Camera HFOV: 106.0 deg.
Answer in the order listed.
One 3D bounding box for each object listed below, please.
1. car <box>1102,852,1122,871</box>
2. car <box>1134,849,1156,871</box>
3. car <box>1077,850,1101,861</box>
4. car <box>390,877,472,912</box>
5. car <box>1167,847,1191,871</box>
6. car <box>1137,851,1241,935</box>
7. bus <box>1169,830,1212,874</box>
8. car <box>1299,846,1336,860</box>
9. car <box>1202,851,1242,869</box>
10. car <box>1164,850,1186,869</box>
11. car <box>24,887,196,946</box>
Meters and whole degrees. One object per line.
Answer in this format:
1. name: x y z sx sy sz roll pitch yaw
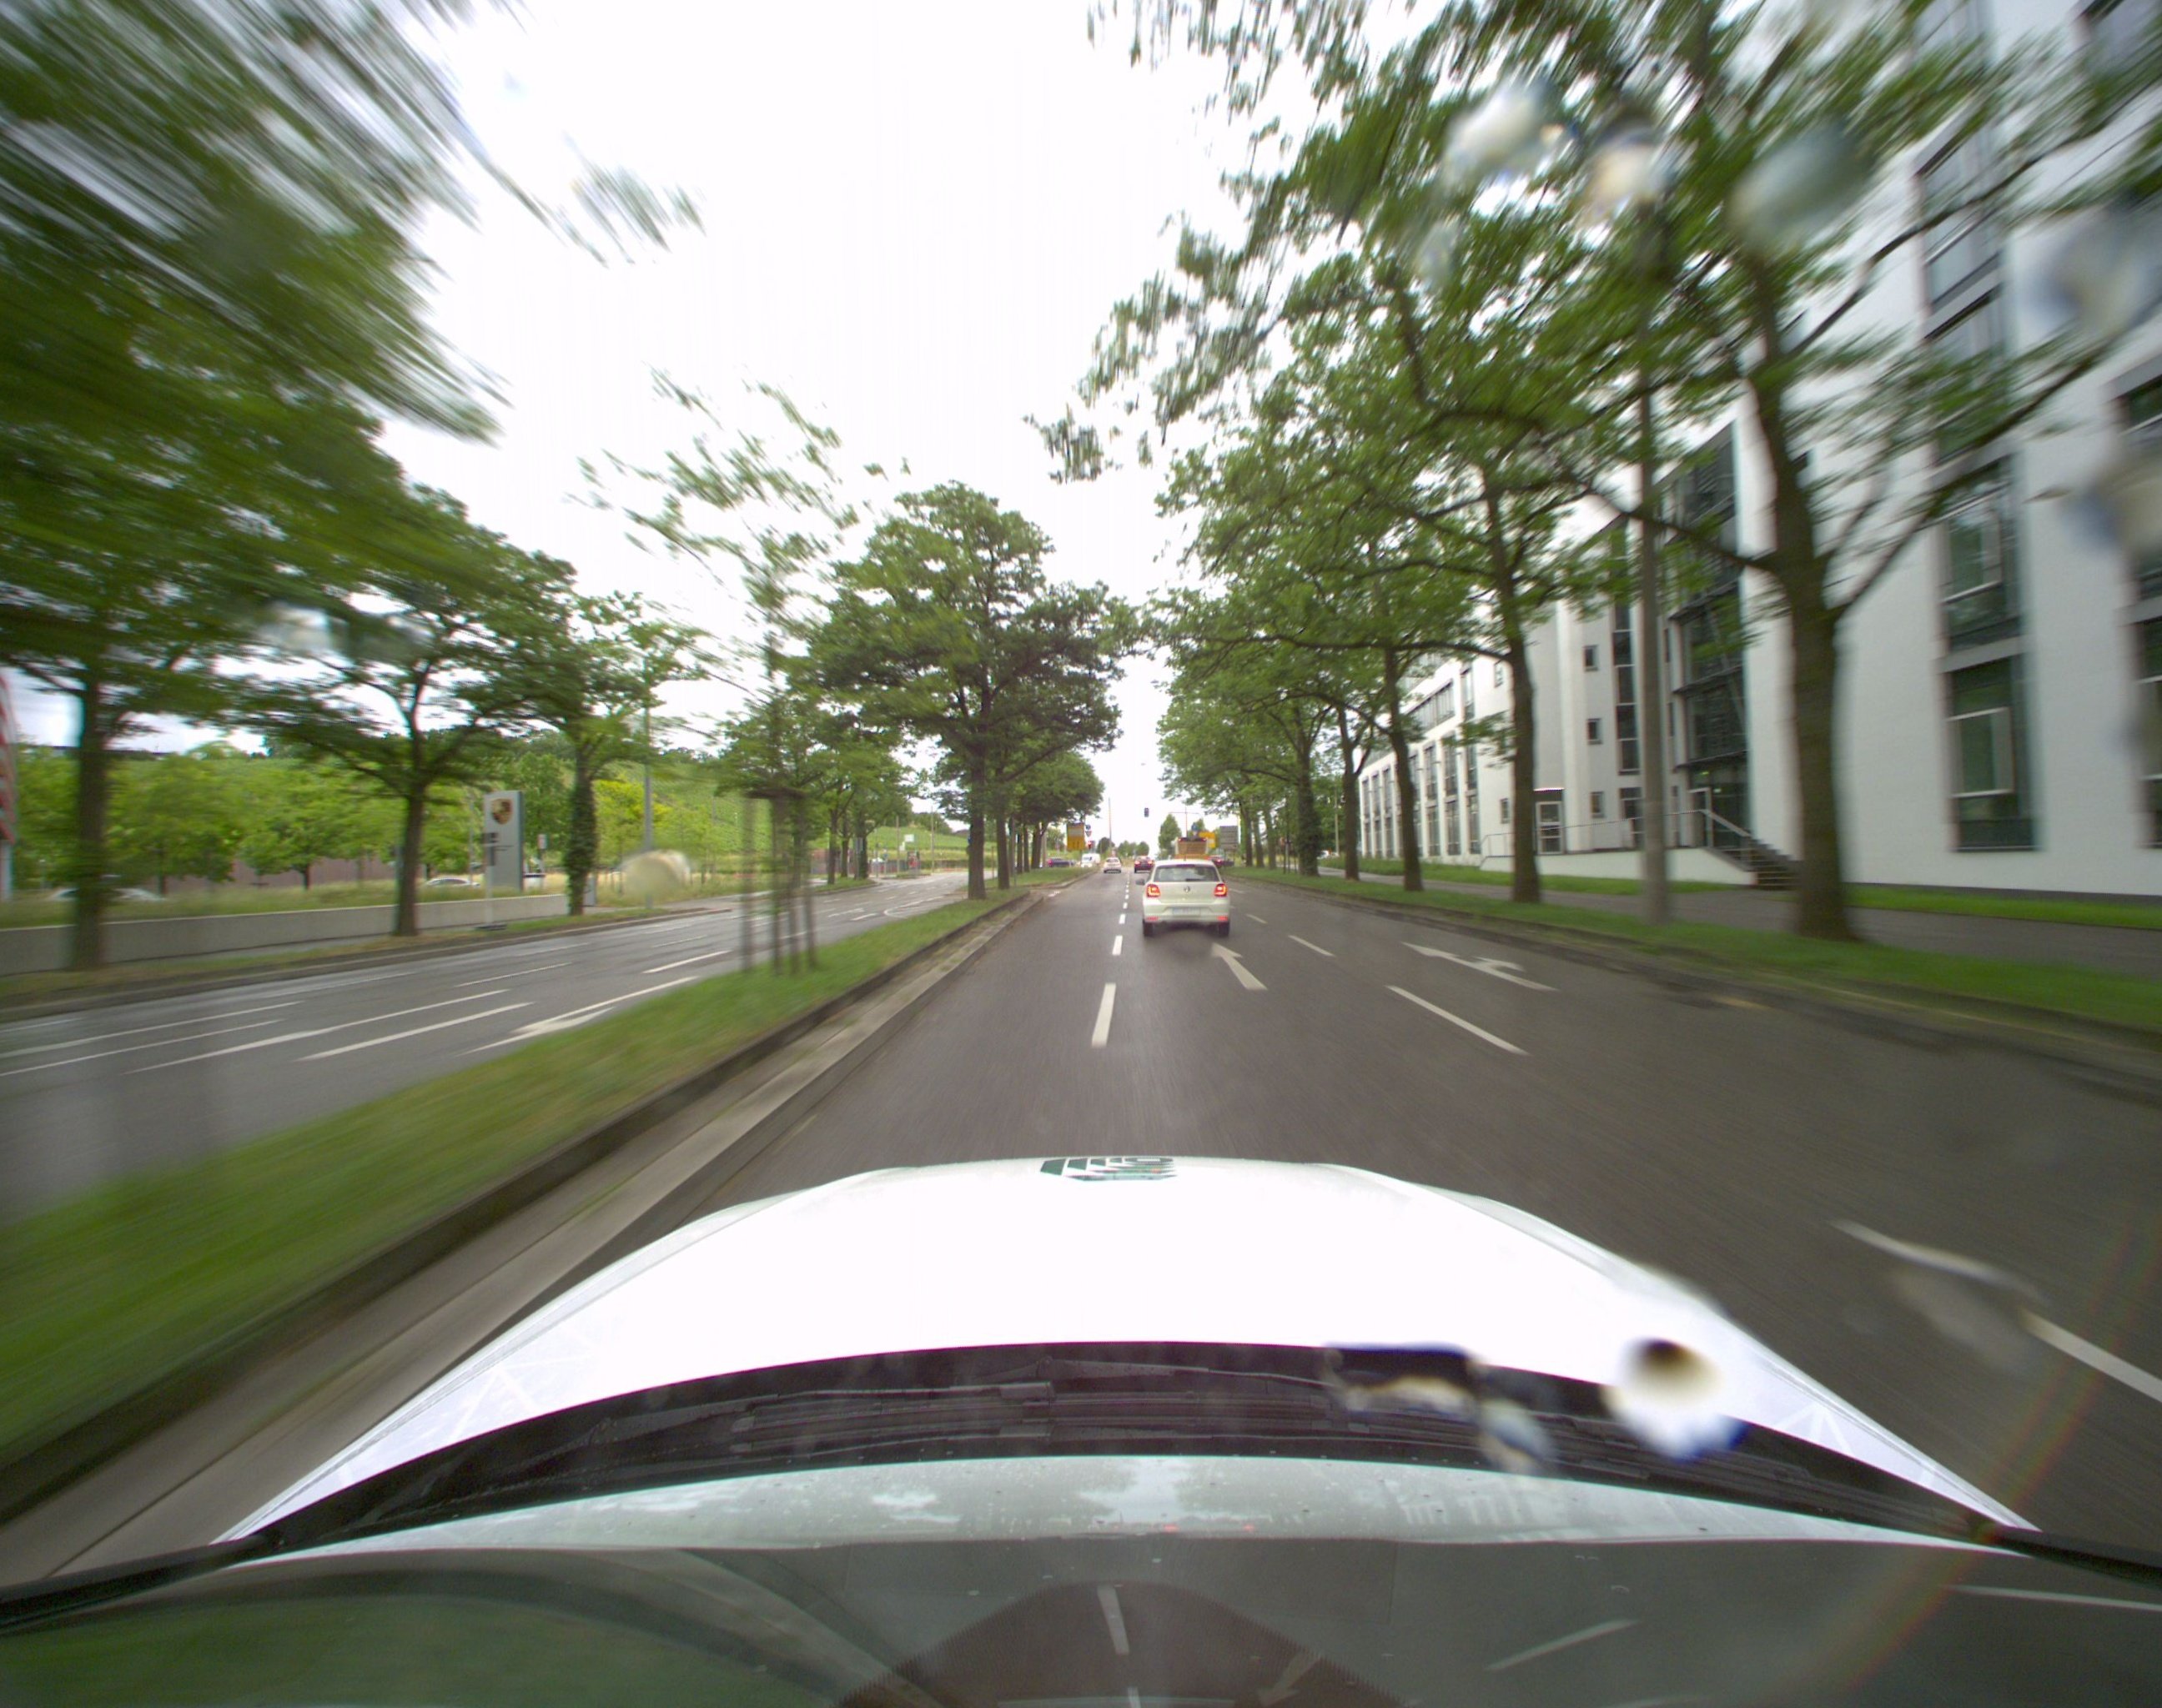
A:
1. car: 3.079 0.738 80.883 1.786 1.741 4.004 -2 0 4
2. car: 6.203 0.550 78.892 1.984 2.013 4.005 -3 0 4
3. car: 1.581 0.273 159.097 1.974 2.013 5.747 -3 0 32
4. car: -43.725 2.702 54.831 1.975 2.013 4.024 -3 0 45
5. car: 8.955 0.470 74.822 1.984 2.014 4.005 -3 -1 4
6. car: 2.105 0.728 16.861 1.787 1.502 4.002 -1 -1 3
7. bus: 8.786 -0.165 66.128 2.815 3.267 10.012 -2 0 5
8. car: 28.617 -0.134 98.673 3.950 1.536 2.012 -3 0 25
9. car: 13.507 0.568 78.094 3.848 1.515 1.680 -1 -1 -41
10. car: 9.189 0.600 79.817 1.984 1.717 4.005 -3 -1 4
11. car: -39.372 2.494 33.144 3.994 2.013 1.990 -3 0 -15
